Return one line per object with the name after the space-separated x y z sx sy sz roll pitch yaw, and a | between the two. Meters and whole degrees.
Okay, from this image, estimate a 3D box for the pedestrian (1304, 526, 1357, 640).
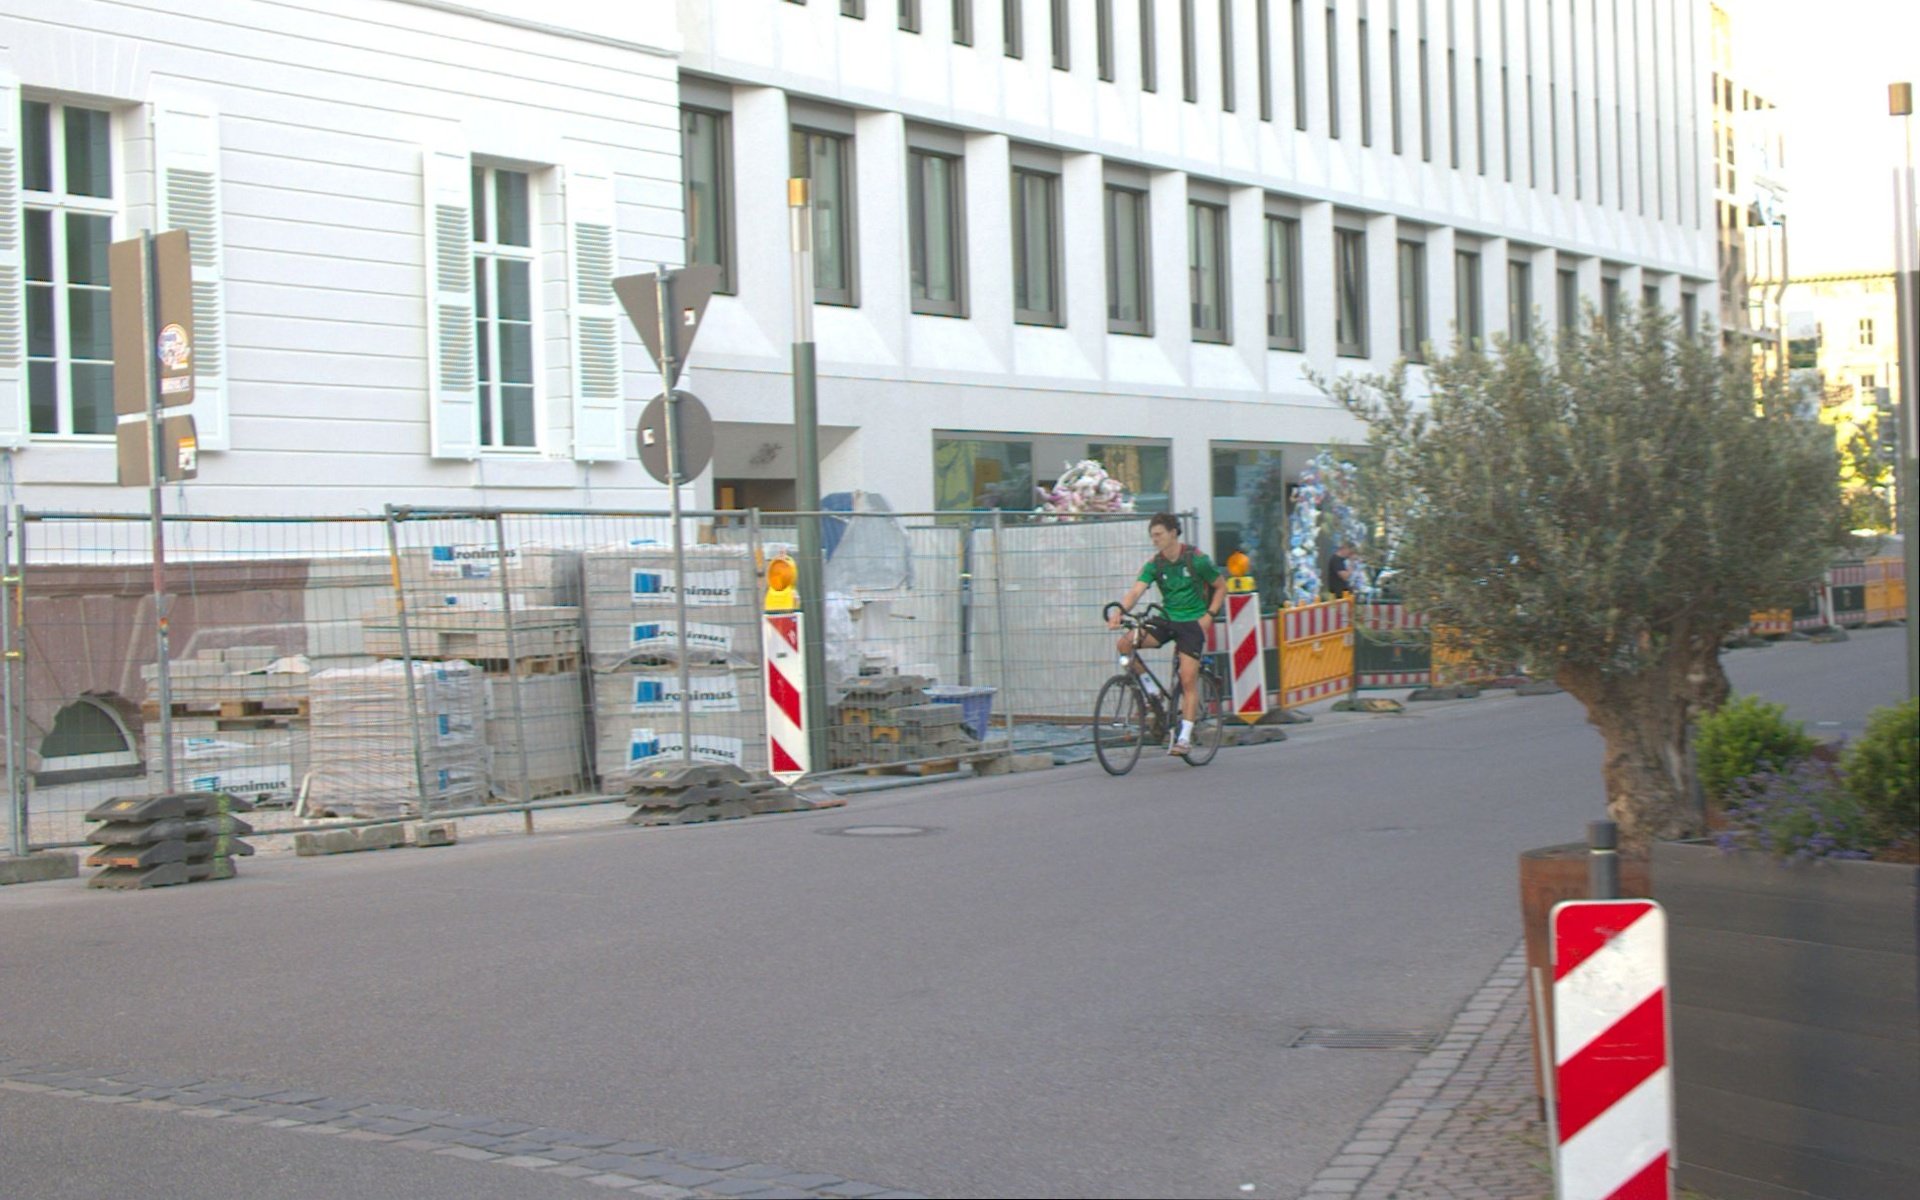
5.200 -0.245 48.217 0.543 1.572 0.578 -2 1 25 | pedestrian

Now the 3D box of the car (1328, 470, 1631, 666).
7.120 -0.475 46.498 2.177 2.462 5.990 -1 1 27 | car

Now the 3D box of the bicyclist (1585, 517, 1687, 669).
6.992 -0.080 35.547 0.797 1.527 0.973 -1 1 24 | bicyclist

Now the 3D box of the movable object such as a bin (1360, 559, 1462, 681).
5.604 0.233 42.673 1.044 1.461 1.393 -1 1 16 | movable object such as a bin

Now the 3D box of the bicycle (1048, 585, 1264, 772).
1.414 0.533 24.347 0.797 1.213 2.231 -1 1 23 | bicycle

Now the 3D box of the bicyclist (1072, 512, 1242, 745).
1.408 0.186 24.349 0.797 1.597 1.229 -1 1 23 | bicyclist

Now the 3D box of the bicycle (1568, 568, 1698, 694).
6.974 0.300 35.533 0.797 1.213 2.230 -1 1 24 | bicycle
